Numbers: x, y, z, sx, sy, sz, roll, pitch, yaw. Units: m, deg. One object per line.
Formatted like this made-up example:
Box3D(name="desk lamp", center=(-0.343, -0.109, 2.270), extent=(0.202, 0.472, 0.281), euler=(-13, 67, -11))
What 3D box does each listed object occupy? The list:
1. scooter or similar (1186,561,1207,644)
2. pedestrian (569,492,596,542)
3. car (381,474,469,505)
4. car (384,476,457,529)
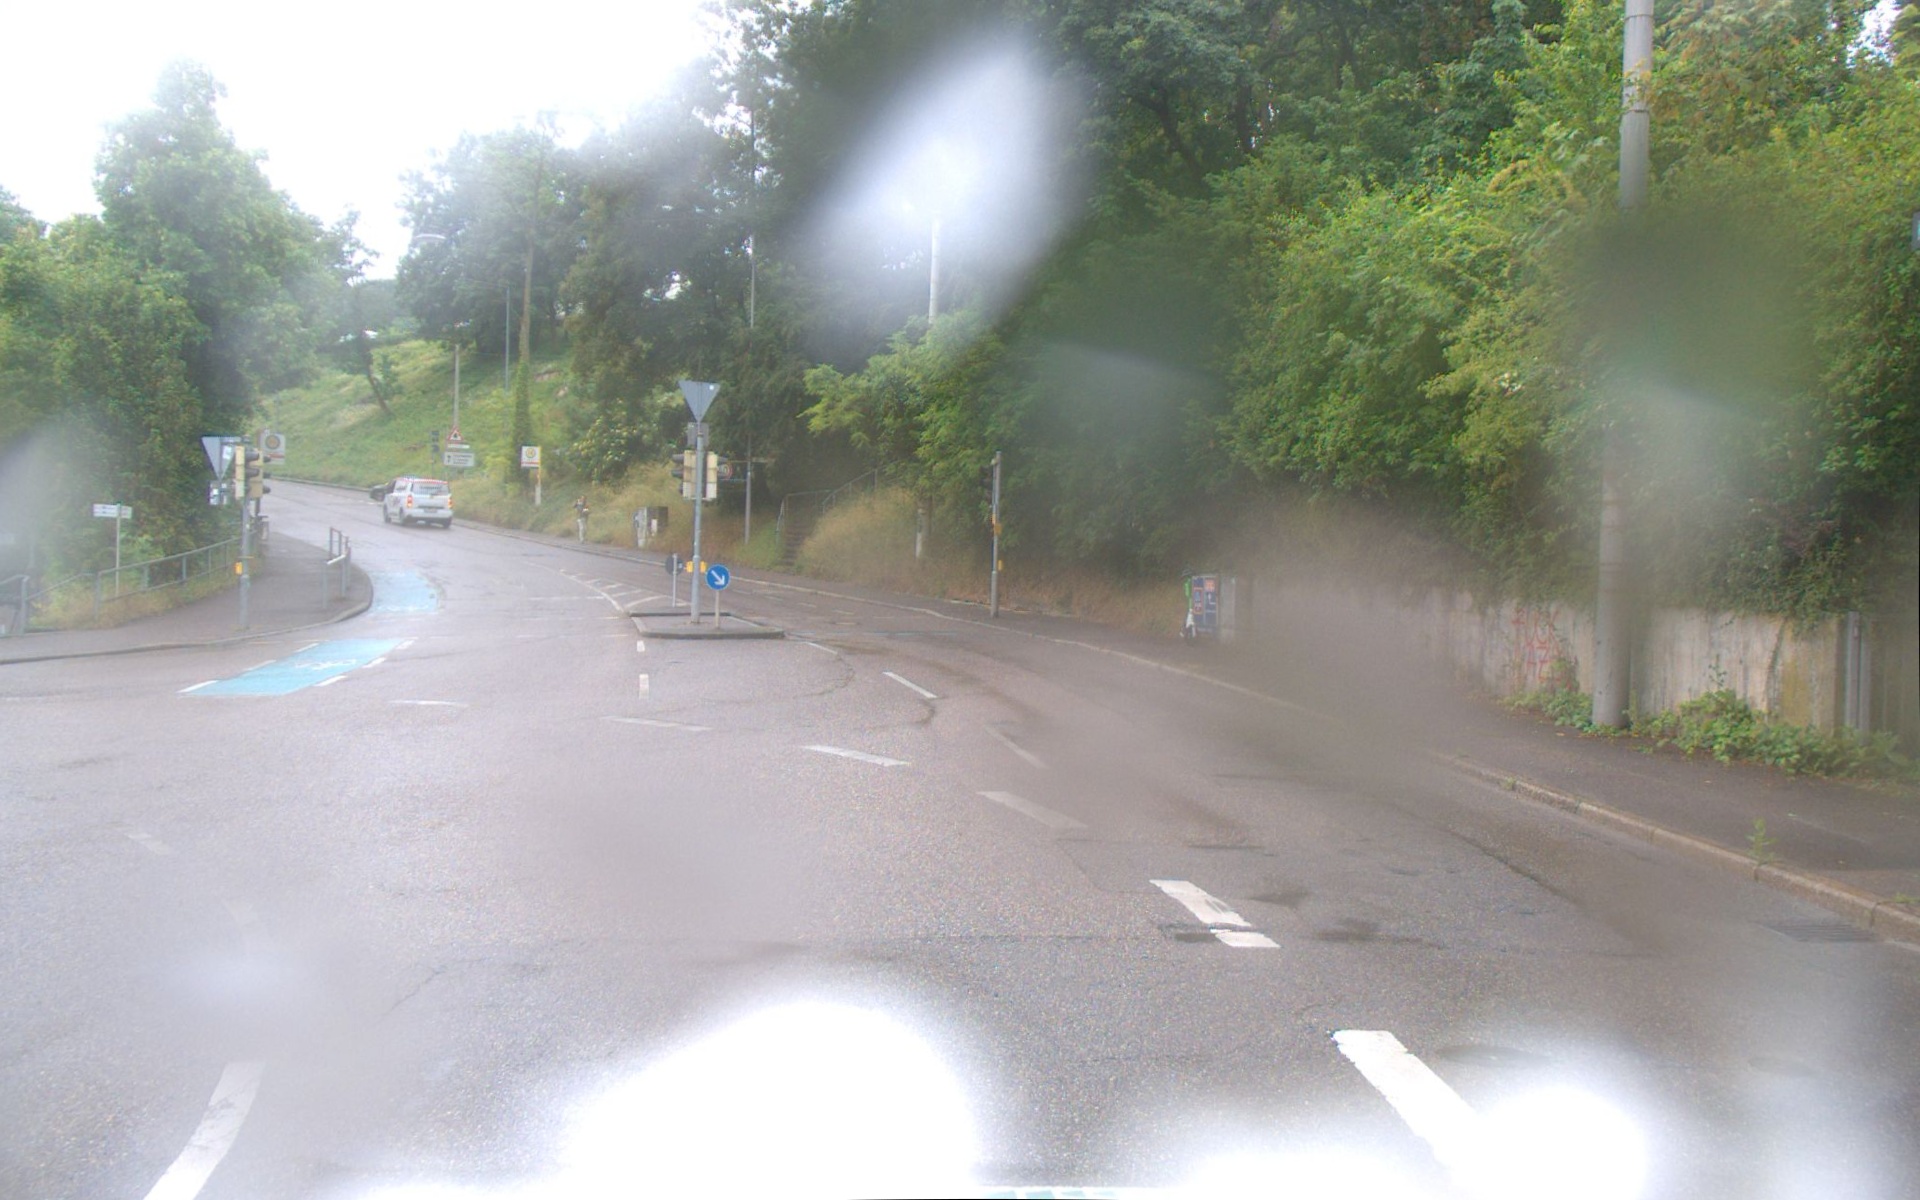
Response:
Box3D(name="scooter or similar", center=(3.786, 0.031, 26.516), extent=(0.315, 1.302, 0.752), euler=(0, 3, 7))
Box3D(name="pedestrian", center=(-13.897, -3.035, 60.898), extent=(0.867, 1.767, 0.861), euler=(1, -1, -18))
Box3D(name="car", center=(-30.169, -6.227, 93.355), extent=(4.297, 1.538, 1.965), euler=(3, 3, 13))
Box3D(name="car", center=(-22.828, -4.081, 69.880), extent=(2.044, 2.041, 4.767), euler=(0, 1, -30))
